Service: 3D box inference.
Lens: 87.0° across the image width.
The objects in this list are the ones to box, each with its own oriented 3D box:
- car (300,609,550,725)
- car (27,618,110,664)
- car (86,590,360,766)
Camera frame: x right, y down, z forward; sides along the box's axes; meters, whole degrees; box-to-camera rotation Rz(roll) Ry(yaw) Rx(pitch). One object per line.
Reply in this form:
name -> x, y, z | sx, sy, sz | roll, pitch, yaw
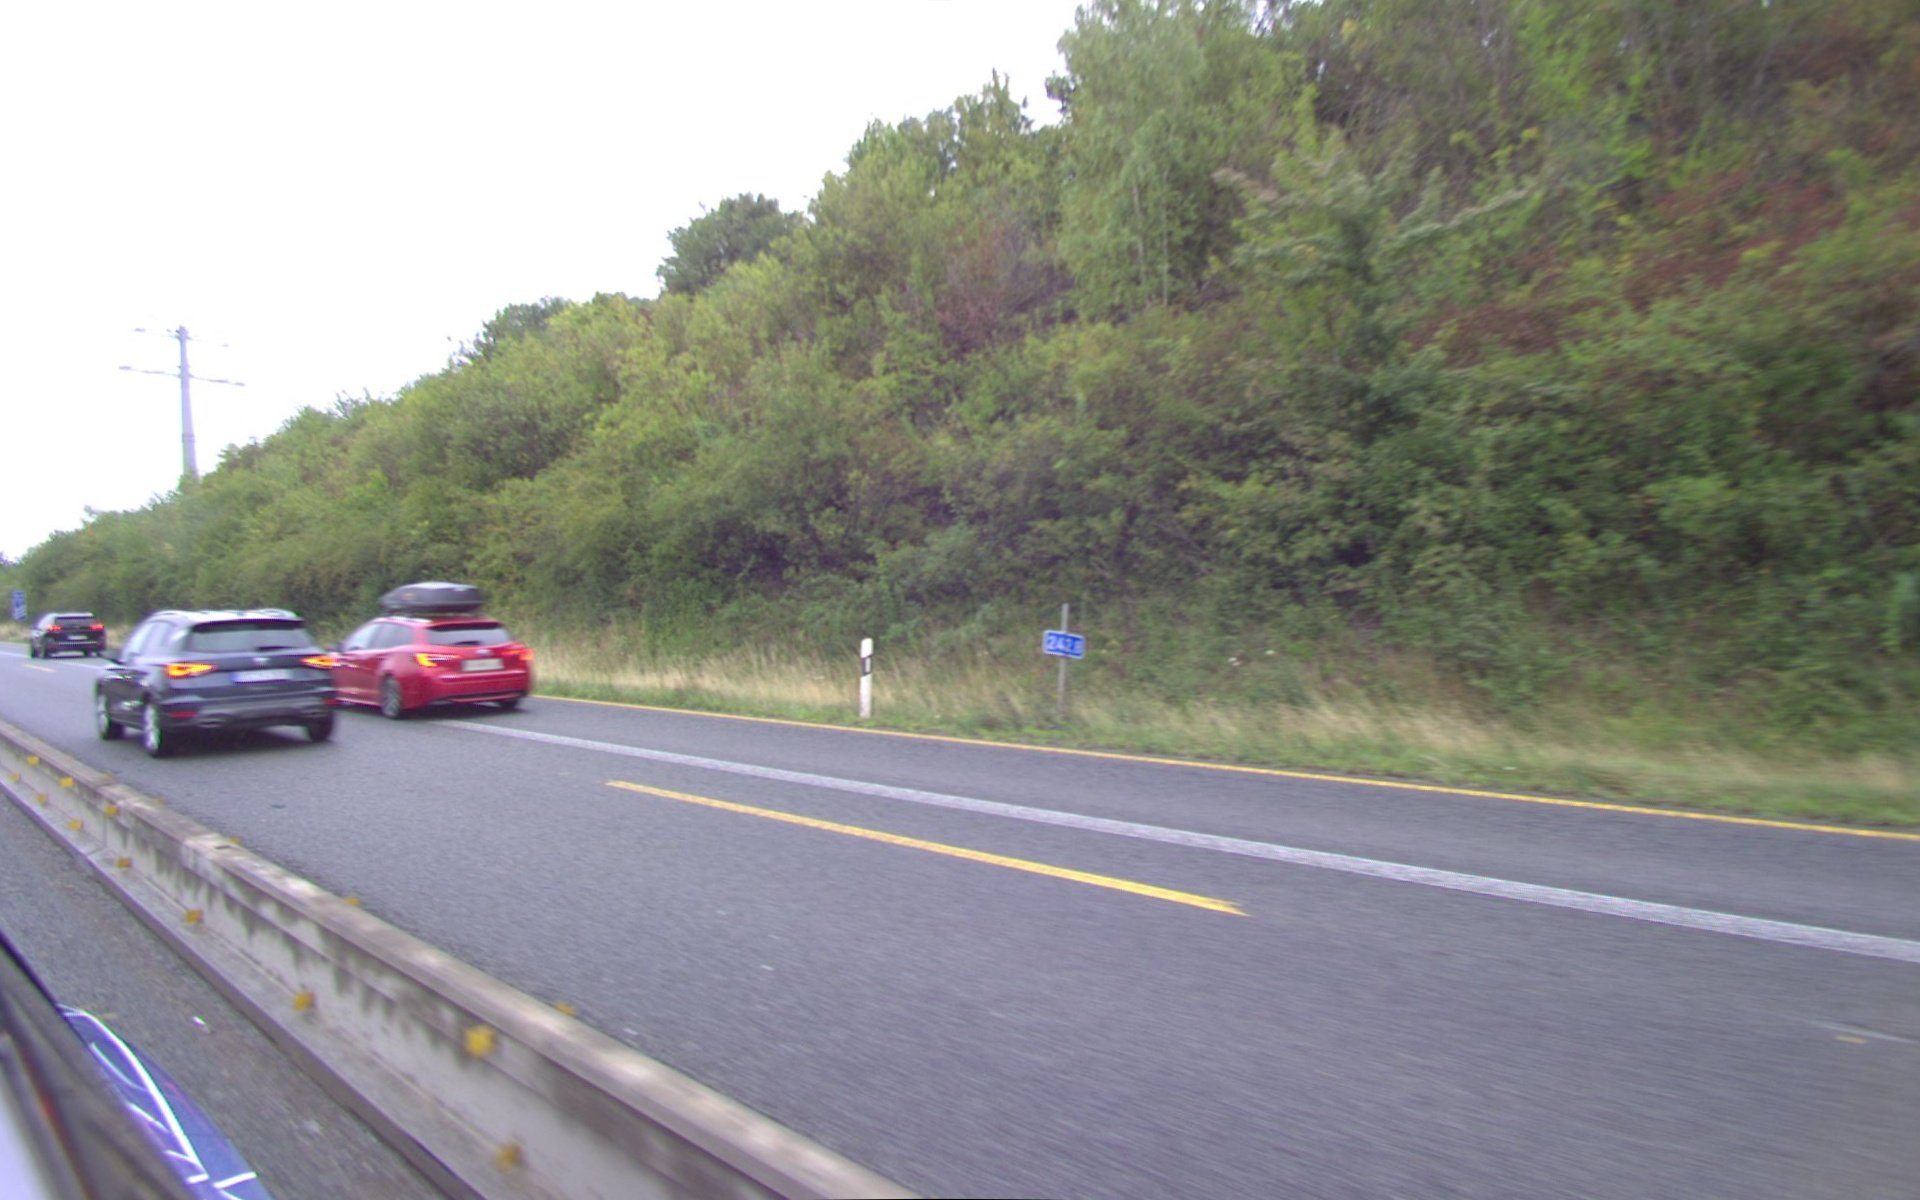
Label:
car -> -8.050, 0.889, 15.053 | 4.446, 1.462, 1.756 | -1, 0, 40
car -> -33.542, 1.496, 38.040 | 3.998, 1.615, 1.851 | -1, 0, 41
car -> -8.647, 0.766, 11.748 | 3.998, 1.696, 1.743 | -1, 0, 41
